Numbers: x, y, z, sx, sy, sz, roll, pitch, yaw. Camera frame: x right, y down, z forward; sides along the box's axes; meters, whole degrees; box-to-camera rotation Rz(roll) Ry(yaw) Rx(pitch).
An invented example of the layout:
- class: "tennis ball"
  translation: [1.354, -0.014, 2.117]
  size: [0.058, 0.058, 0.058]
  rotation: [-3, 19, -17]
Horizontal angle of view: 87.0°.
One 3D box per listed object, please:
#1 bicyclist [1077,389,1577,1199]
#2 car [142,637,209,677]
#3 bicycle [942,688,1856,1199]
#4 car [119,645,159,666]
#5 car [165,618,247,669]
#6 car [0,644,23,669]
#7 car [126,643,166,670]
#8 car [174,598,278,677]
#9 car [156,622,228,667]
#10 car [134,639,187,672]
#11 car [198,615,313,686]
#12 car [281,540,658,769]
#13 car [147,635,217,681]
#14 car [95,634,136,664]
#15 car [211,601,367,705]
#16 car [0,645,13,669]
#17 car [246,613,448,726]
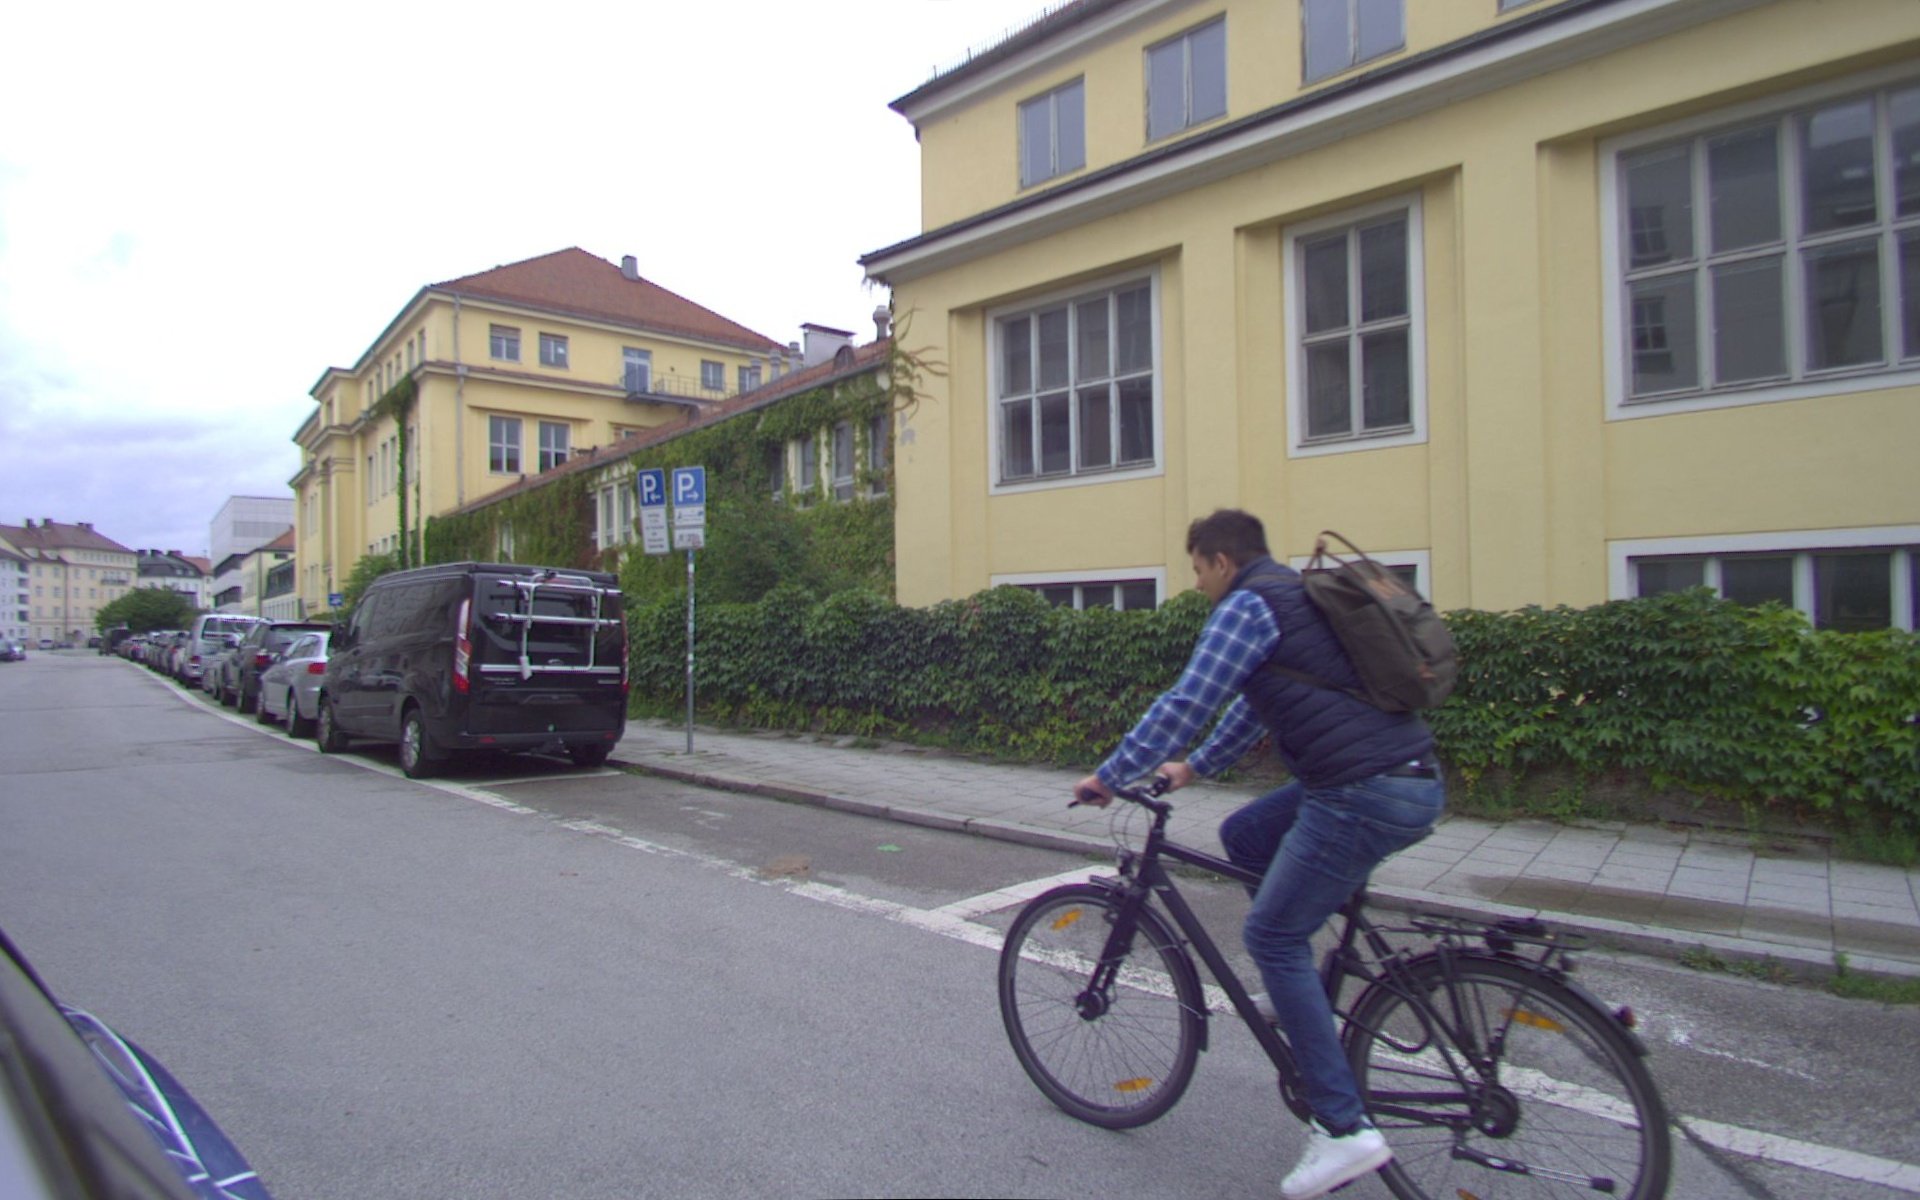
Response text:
- class: "bicyclist"
  translation: [0.939, 0.411, 2.584]
  size: [0.946, 1.620, 0.854]
  rotation: [-2, -1, 40]
- class: "car"
  translation: [-33.054, 2.395, 42.593]
  size: [1.767, 1.599, 4.824]
  rotation: [4, -5, -42]
- class: "bicycle"
  translation: [0.925, 0.866, 2.579]
  size: [2.002, 1.167, 0.663]
  rotation: [-2, -1, 40]
- class: "car"
  translation: [-60.570, 4.081, 74.633]
  size: [1.934, 1.493, 4.534]
  rotation: [4, -5, -43]
- class: "car"
  translation: [-23.180, 1.335, 31.063]
  size: [1.572, 1.452, 4.023]
  rotation: [4, -5, -42]
- class: "car"
  translation: [-69.732, 4.129, 73.865]
  size: [3.803, 1.686, 1.663]
  rotation: [-3, -1, 42]
- class: "car"
  translation: [-48.659, 3.381, 60.454]
  size: [1.678, 1.508, 4.155]
  rotation: [5, -5, -40]
- class: "car"
  translation: [-19.604, 1.023, 26.940]
  size: [1.863, 1.904, 4.782]
  rotation: [4, -4, -39]
- class: "car"
  translation: [-26.620, 1.536, 35.038]
  size: [1.584, 1.441, 4.257]
  rotation: [5, -5, -41]
- class: "car"
  translation: [-41.888, 2.891, 52.983]
  size: [1.725, 1.646, 4.861]
  rotation: [3, -4, -43]
- class: "car"
  translation: [-15.918, 1.137, 22.777]
  size: [1.632, 1.425, 4.778]
  rotation: [5, -5, -40]
- class: "car"
  translation: [-5.695, 0.576, 11.342]
  size: [5.351, 1.979, 2.049]
  rotation: [-2, -4, 44]
- class: "car"
  translation: [-29.920, 2.210, 38.877]
  size: [1.703, 1.642, 4.471]
  rotation: [4, -4, -42]
- class: "car"
  translation: [-84.867, 4.922, 101.657]
  size: [6.194, 2.876, 2.189]
  rotation: [-3, -5, 42]
- class: "car"
  translation: [-12.522, 0.963, 18.752]
  size: [1.676, 1.655, 4.496]
  rotation: [7, -6, -41]
- class: "car"
  translation: [-59.336, 3.502, 61.951]
  size: [1.666, 1.412, 4.371]
  rotation: [0, -2, -39]
- class: "car"
  translation: [-9.149, 1.011, 14.922]
  size: [1.674, 1.404, 4.506]
  rotation: [6, -6, -41]
